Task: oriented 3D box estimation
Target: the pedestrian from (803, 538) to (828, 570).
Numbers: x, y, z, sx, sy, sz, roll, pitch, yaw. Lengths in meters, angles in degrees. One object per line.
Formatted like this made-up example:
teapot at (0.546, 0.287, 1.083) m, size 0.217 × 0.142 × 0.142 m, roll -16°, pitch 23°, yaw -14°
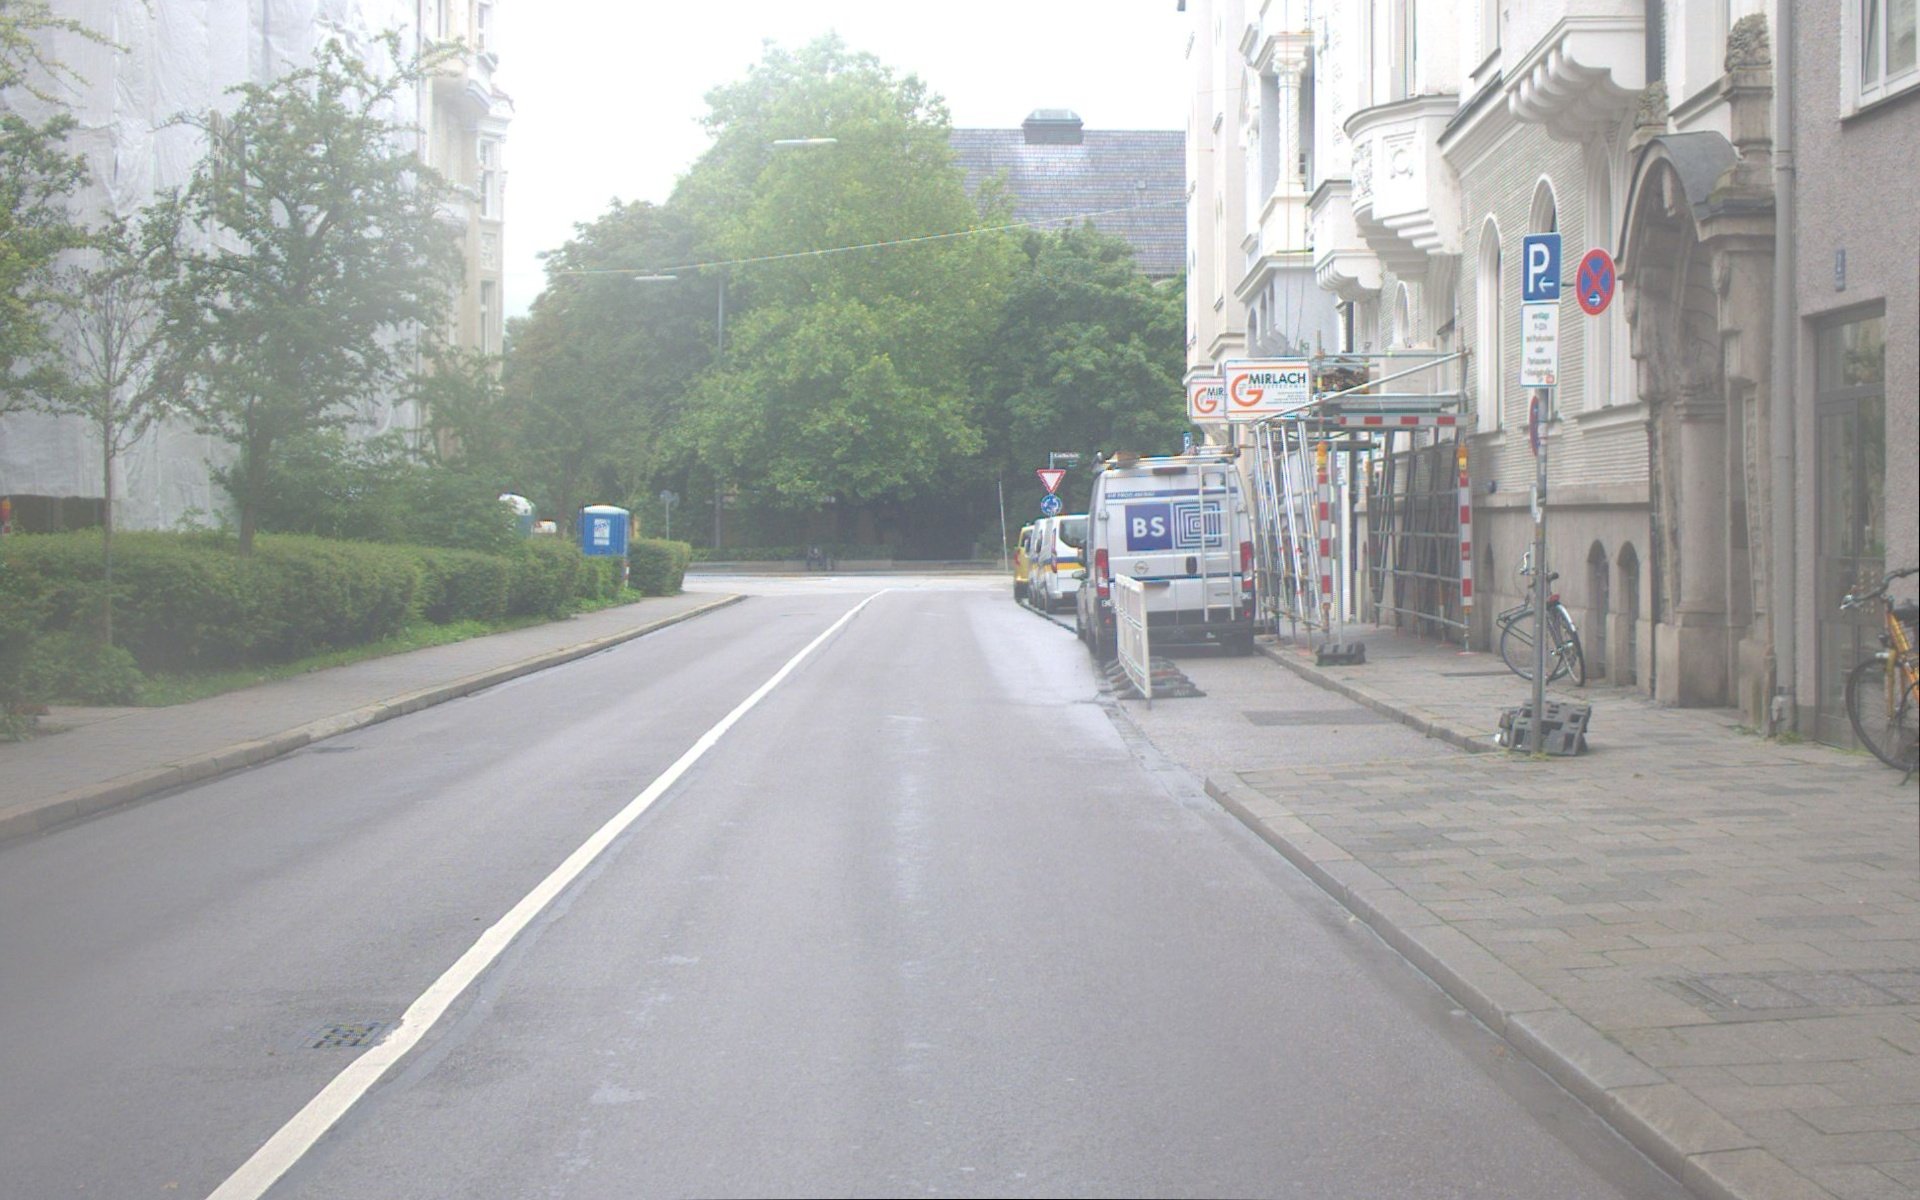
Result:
pedestrian at (-5.430, -1.726, 129.310) m, size 0.812 × 1.185 × 0.919 m, roll 0°, pitch 1°, yaw 6°

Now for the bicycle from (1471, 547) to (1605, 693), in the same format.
bicycle at (5.096, 0.156, 30.442) m, size 0.660 × 1.202 × 1.922 m, roll -4°, pitch 1°, yaw -4°

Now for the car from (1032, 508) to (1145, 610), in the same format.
car at (2.598, -0.861, 70.605) m, size 1.959 × 2.007 × 4.994 m, roll -1°, pitch 1°, yaw -2°

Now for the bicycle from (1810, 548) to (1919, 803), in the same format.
bicycle at (5.081, 0.369, 18.406) m, size 0.512 × 1.255 × 1.820 m, roll -4°, pitch 1°, yaw -1°

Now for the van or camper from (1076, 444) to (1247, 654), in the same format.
van or camper at (2.628, -0.686, 45.990) m, size 1.953 × 2.628 × 5.459 m, roll 0°, pitch 1°, yaw 0°

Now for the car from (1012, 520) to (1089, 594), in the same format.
car at (2.347, -1.121, 87.882) m, size 1.850 × 1.846 × 4.820 m, roll 0°, pitch 1°, yaw 3°

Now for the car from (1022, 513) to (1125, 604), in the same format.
car at (2.497, -0.949, 76.775) m, size 1.959 × 1.930 × 4.994 m, roll -1°, pitch 1°, yaw -2°
